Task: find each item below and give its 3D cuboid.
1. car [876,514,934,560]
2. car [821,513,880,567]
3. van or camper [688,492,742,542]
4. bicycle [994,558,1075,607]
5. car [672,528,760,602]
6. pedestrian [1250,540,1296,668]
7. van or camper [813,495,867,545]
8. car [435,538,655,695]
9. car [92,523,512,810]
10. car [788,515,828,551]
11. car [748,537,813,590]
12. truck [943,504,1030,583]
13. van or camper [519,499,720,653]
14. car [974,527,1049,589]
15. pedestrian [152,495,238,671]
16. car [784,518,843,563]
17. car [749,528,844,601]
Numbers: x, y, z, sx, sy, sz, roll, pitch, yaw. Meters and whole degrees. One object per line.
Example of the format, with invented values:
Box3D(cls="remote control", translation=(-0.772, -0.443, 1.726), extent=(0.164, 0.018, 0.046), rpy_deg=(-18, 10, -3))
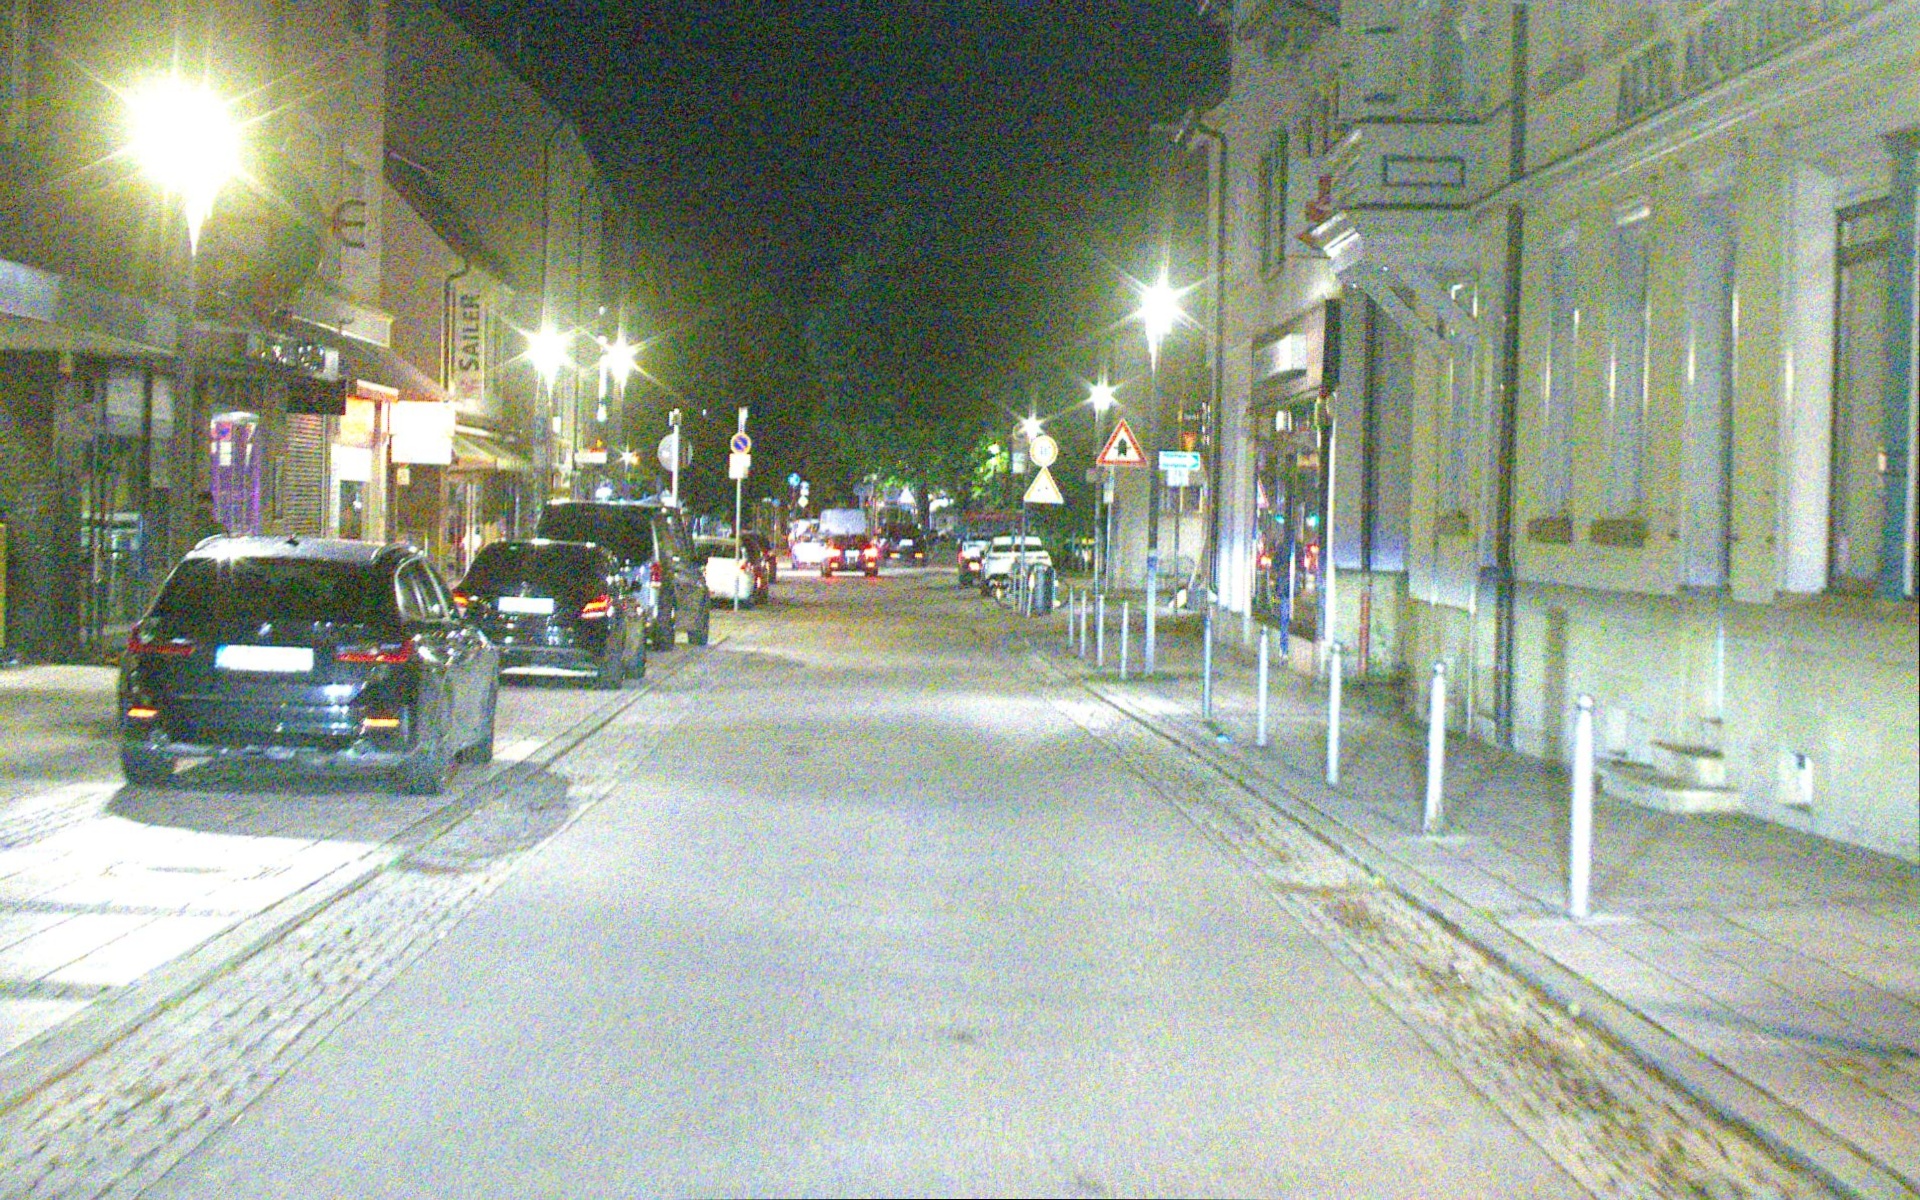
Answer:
Box3D(cls="car", translation=(-2.222, -2.549, 138.149), extent=(1.814, 1.822, 4.348), rpy_deg=(0, 2, -7))
Box3D(cls="car", translation=(-3.805, -2.091, 119.097), extent=(1.993, 1.817, 4.001), rpy_deg=(1, 1, -2))
Box3D(cls="van or camper", translation=(-10.330, -3.503, 144.809), extent=(1.866, 2.004, 4.263), rpy_deg=(2, 1, -8))
Box3D(cls="bicycle", translation=(1.641, -0.380, 75.652), extent=(1.754, 1.058, 0.346), rpy_deg=(0, 1, -4))
Box3D(cls="car", translation=(-5.181, -0.772, 73.408), extent=(1.728, 1.471, 3.847), rpy_deg=(2, 1, -2))
Box3D(cls="pedestrian", translation=(3.829, 0.050, 42.057), extent=(0.501, 1.542, 0.480), rpy_deg=(2, 1, 5))
Box3D(cls="van or camper", translation=(-5.750, -3.829, 164.250), extent=(2.108, 2.309, 4.263), rpy_deg=(-1, 2, -8))
Box3D(cls="car", translation=(-4.160, 0.118, 35.022), extent=(1.716, 1.408, 4.386), rpy_deg=(2, 1, -1))
Box3D(cls="car", translation=(-3.855, 0.325, 20.841), extent=(1.797, 1.473, 4.322), rpy_deg=(3, 1, -2))
Box3D(cls="car", translation=(-8.076, -3.572, 182.829), extent=(1.839, 1.894, 3.846), rpy_deg=(0, 1, -7))
Box3D(cls="car", translation=(-5.598, -1.152, 107.015), extent=(1.673, 1.538, 4.232), rpy_deg=(1, 1, -7))
Box3D(cls="truck", translation=(0.751, -1.722, 102.603), extent=(2.336, 2.304, 5.781), rpy_deg=(0, 2, -2))
Box3D(cls="van or camper", translation=(-4.591, -0.370, 47.087), extent=(1.846, 1.935, 5.153), rpy_deg=(2, 1, 4))
Box3D(cls="car", translation=(1.290, -1.081, 87.109), extent=(1.789, 1.486, 4.059), rpy_deg=(-1, 1, 0))
Box3D(cls="pedestrian", translation=(-7.742, -0.182, 34.833), extent=(0.621, 1.739, 1.023), rpy_deg=(1, 1, -1))
Box3D(cls="car", translation=(-5.737, -2.338, 134.075), extent=(1.993, 1.697, 4.001), rpy_deg=(1, 1, -6))
Box3D(cls="car", translation=(-3.737, -0.847, 79.032), extent=(2.019, 1.483, 5.008), rpy_deg=(4, 1, -2))
